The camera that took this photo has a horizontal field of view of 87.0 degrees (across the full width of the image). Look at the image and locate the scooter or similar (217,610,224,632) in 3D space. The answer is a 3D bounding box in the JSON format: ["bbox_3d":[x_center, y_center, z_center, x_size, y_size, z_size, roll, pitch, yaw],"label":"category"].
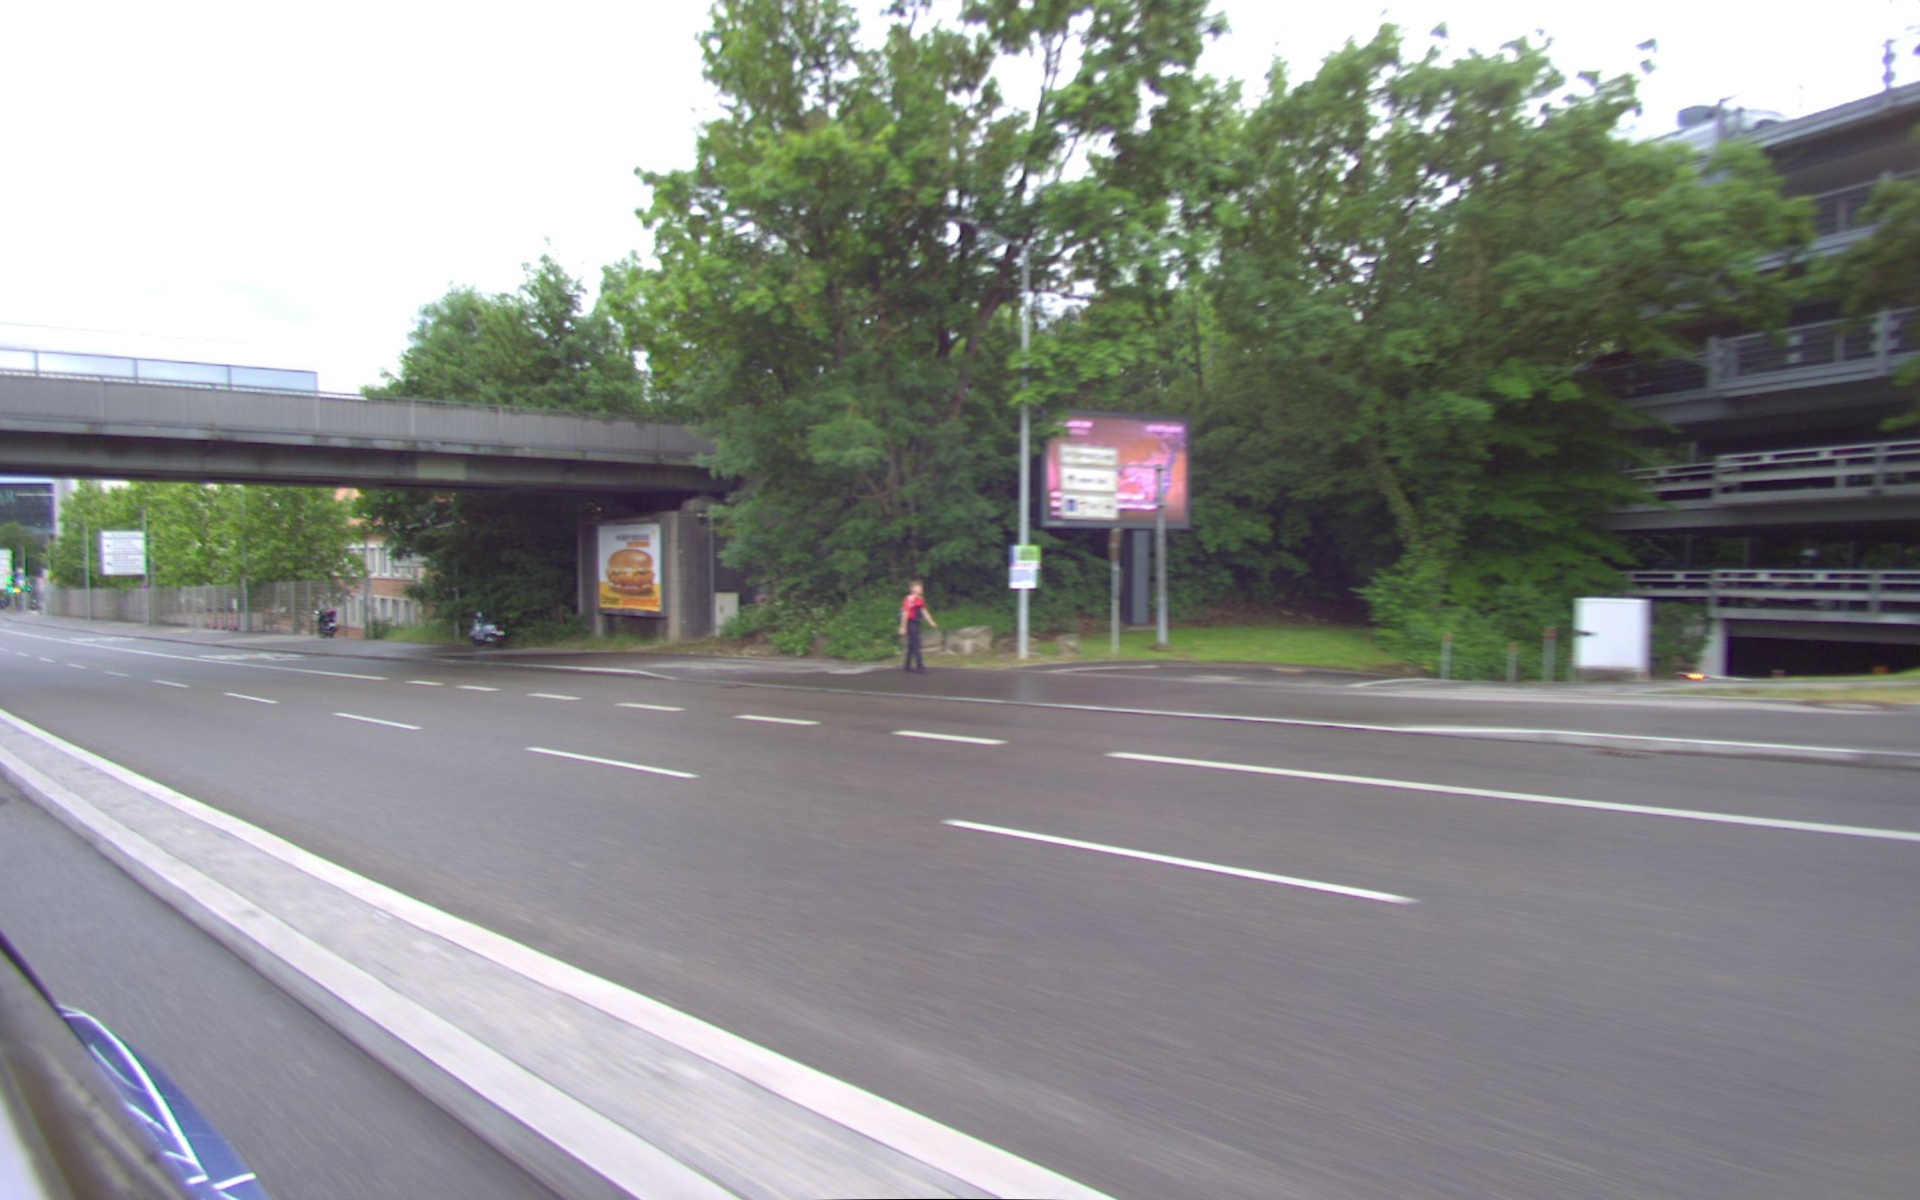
[{"bbox_3d":[-41.950,1.187,57.417,0.307,1.227,1.311,-1,0,-36],"label":"scooter or similar"}]

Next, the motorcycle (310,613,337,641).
[{"bbox_3d":[-28.366,1.187,45.080,1.996,1.214,0.463,-1,0,42],"label":"motorcycle"}]

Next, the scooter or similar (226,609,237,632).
[{"bbox_3d":[-40.164,1.132,55.783,0.308,1.227,1.309,-1,0,-43],"label":"scooter or similar"}]

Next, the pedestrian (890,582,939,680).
[{"bbox_3d":[-0.884,0.575,19.459,0.513,1.829,0.801,-2,1,-38],"label":"pedestrian"}]

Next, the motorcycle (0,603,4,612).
[{"bbox_3d":[-124.958,0.982,131.672,2.038,1.171,0.561,1,1,41],"label":"motorcycle"}]

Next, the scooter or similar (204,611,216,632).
[{"bbox_3d":[-43.793,1.233,59.106,1.307,1.227,0.308,-1,0,42],"label":"scooter or similar"}]

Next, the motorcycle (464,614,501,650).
[{"bbox_3d":[-15.883,1.050,33.639,0.463,1.167,1.933,-1,0,-45],"label":"motorcycle"}]

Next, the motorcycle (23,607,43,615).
[{"bbox_3d":[-115.528,1.380,126.150,2.145,1.035,0.625,0,1,8],"label":"motorcycle"}]
